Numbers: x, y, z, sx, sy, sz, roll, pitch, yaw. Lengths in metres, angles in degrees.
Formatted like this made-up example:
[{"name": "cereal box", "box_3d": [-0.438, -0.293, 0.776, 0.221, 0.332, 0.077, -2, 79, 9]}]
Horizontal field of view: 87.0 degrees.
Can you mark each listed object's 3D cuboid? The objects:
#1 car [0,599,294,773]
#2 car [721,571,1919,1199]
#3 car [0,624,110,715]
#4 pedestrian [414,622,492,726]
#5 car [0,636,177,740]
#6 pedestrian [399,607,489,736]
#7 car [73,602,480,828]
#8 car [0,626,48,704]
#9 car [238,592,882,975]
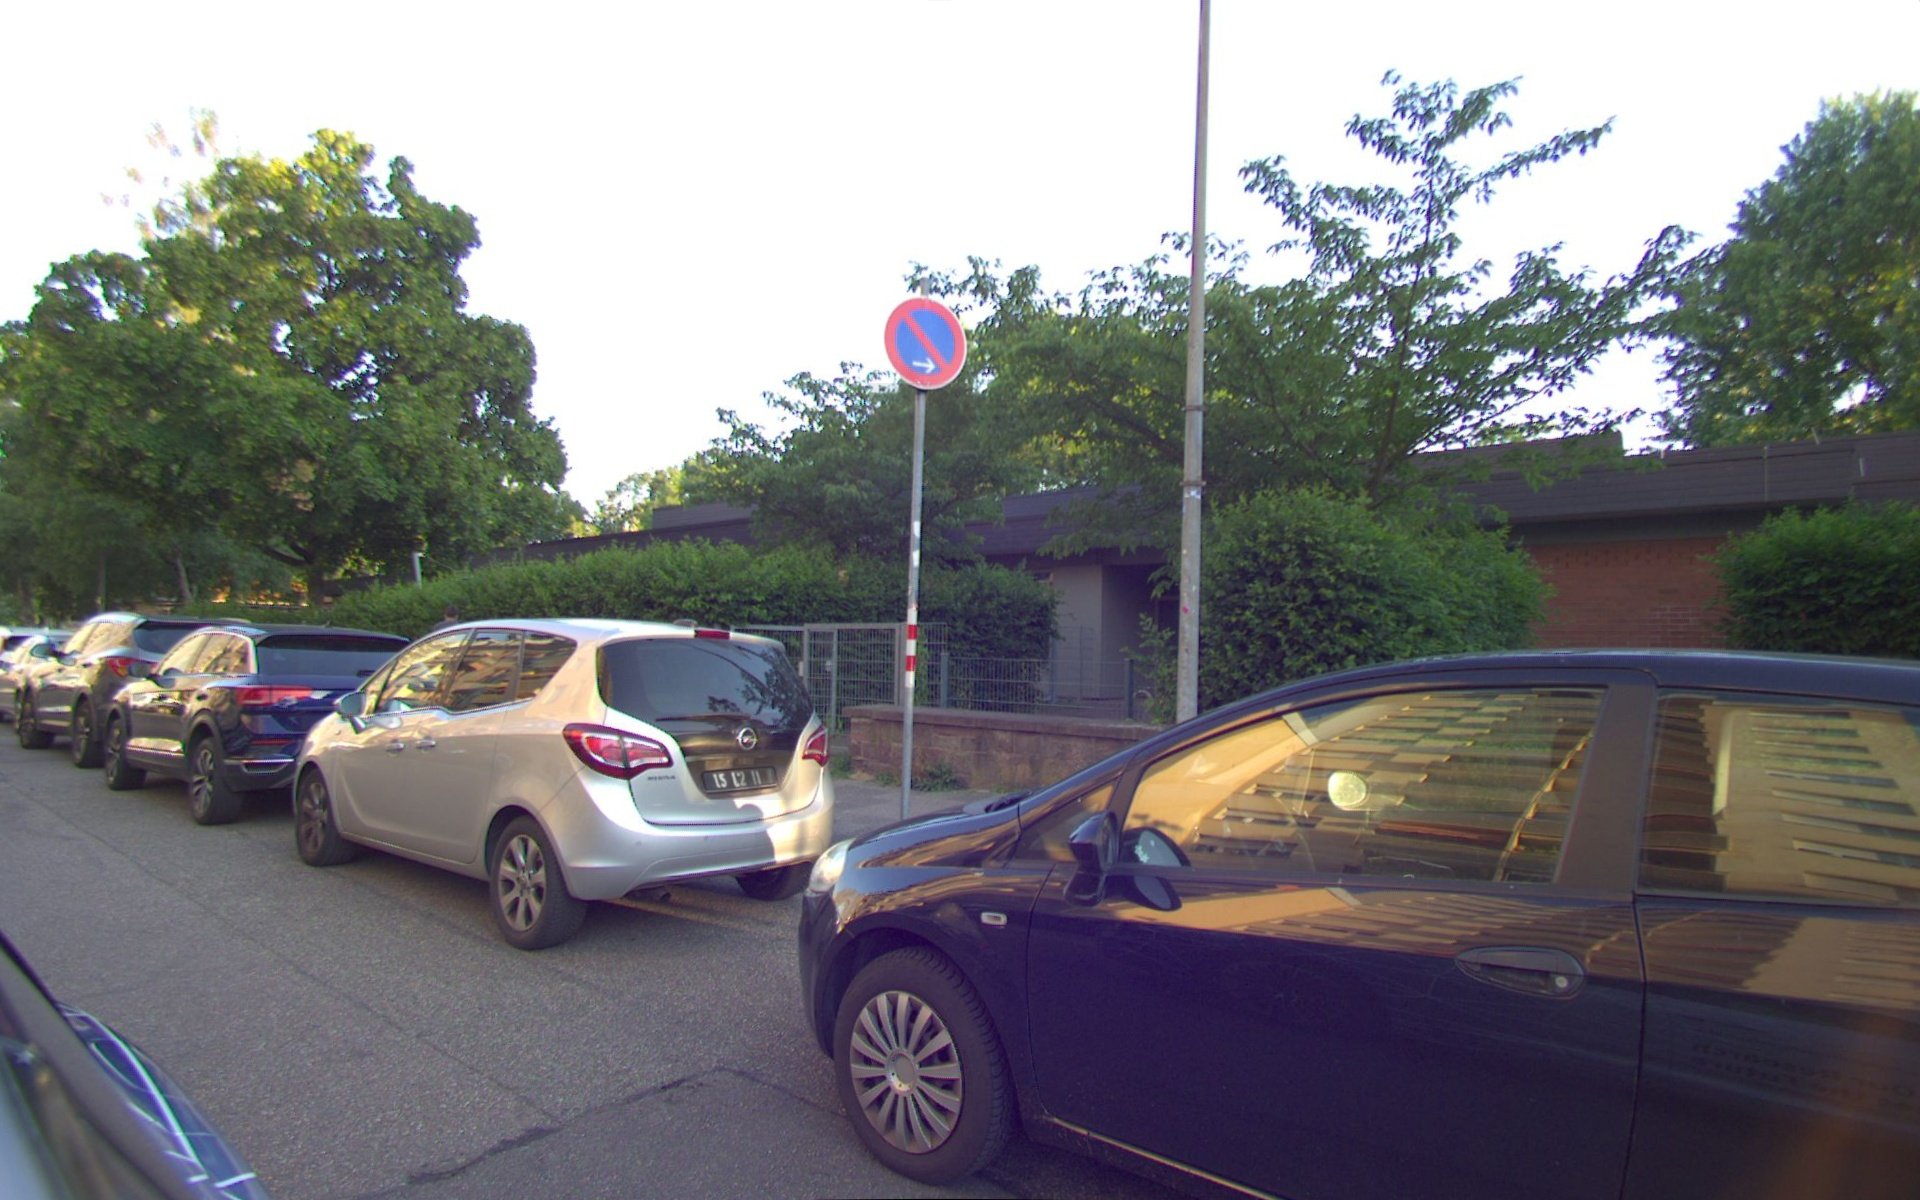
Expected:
[{"name": "car", "box_3d": [-9.906, 0.969, 12.207, 4.316, 1.743, 1.717, -2, -5, 37]}, {"name": "car", "box_3d": [1.282, 0.821, 2.615, 3.691, 1.579, 1.717, -2, -5, 37]}, {"name": "car", "box_3d": [-17.848, 1.288, 19.149, 4.273, 1.555, 1.742, -2, -5, 37]}, {"name": "pedestrian", "box_3d": [-7.765, 1.109, 15.495, 0.900, 1.519, 0.741, -2, -1, 38]}, {"name": "car", "box_3d": [-14.133, 1.320, 15.964, 4.280, 1.438, 1.717, -2, -5, 37]}, {"name": "pedestrian", "box_3d": [-7.351, 0.985, 14.433, 0.749, 1.745, 0.890, -2, -1, 38]}, {"name": "car", "box_3d": [-6.231, 0.911, 9.063, 4.160, 1.579, 1.717, -2, -5, 37]}, {"name": "car", "box_3d": [-21.912, 1.416, 22.616, 3.978, 1.644, 1.715, -2, -5, 41]}, {"name": "car", "box_3d": [-2.596, 0.860, 6.155, 4.123, 1.579, 1.717, -2, -5, 37]}]
